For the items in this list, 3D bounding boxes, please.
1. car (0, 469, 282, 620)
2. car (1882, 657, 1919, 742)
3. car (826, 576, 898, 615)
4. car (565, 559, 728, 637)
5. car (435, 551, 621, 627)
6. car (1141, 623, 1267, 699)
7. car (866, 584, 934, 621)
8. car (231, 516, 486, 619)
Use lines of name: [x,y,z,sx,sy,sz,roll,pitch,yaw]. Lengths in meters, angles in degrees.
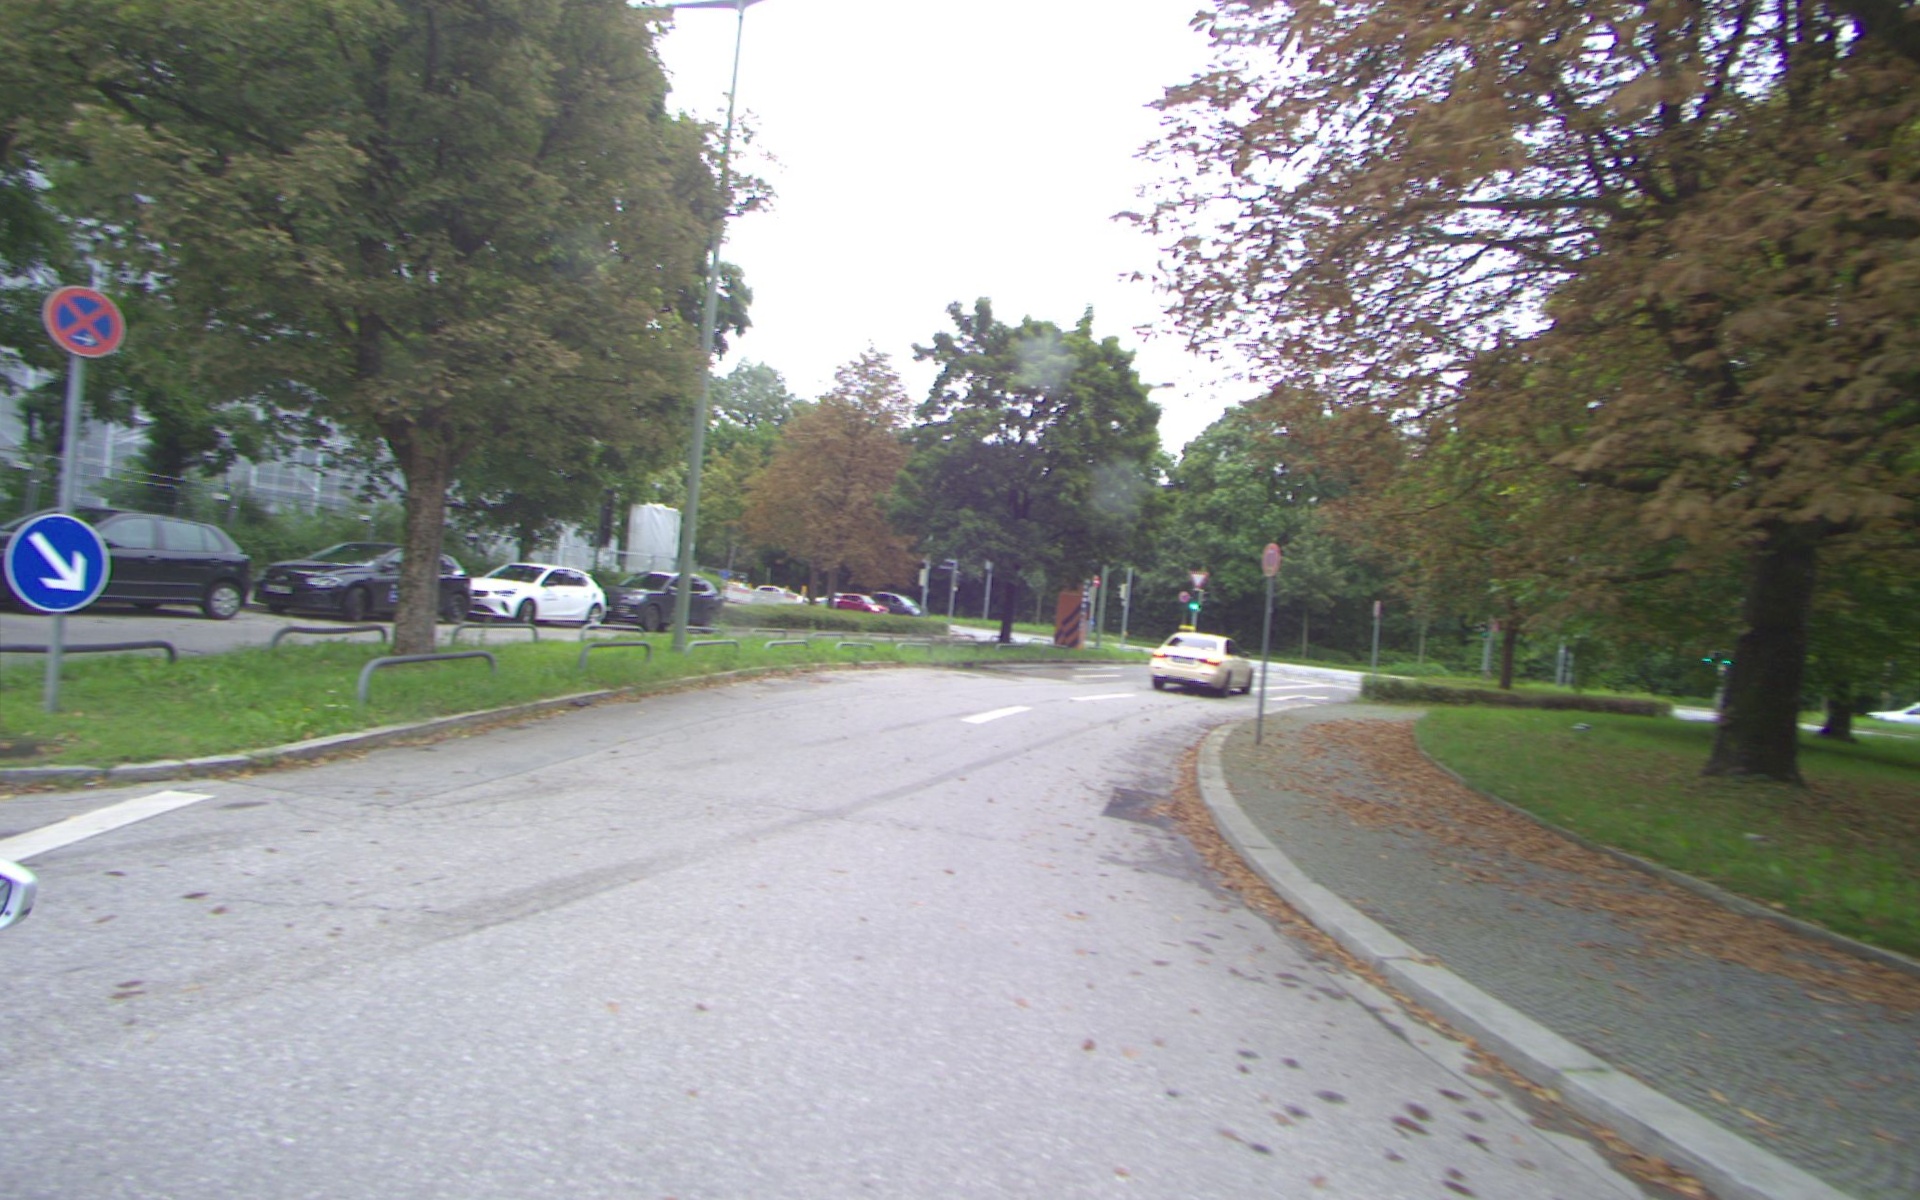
car: [-11.906,-0.740,13.784,1.962,1.726,4.003,8,0,10]
car: [34.484,3.604,33.205,5.509,2.768,2.070,6,1,35]
car: [-6.392,-0.270,65.534,4.087,2.039,1.996,6,0,30]
car: [-8.505,0.008,27.763,1.857,1.624,4.399,6,-2,21]
car: [-9.927,-0.191,23.530,1.767,1.400,4.221,6,-1,13]
car: [6.335,1.560,25.647,1.861,1.564,4.847,6,0,28]
car: [-4.047,0.154,67.716,3.932,2.039,1.996,6,0,30]
car: [-10.983,-0.515,18.755,1.805,1.478,4.008,6,-1,10]
